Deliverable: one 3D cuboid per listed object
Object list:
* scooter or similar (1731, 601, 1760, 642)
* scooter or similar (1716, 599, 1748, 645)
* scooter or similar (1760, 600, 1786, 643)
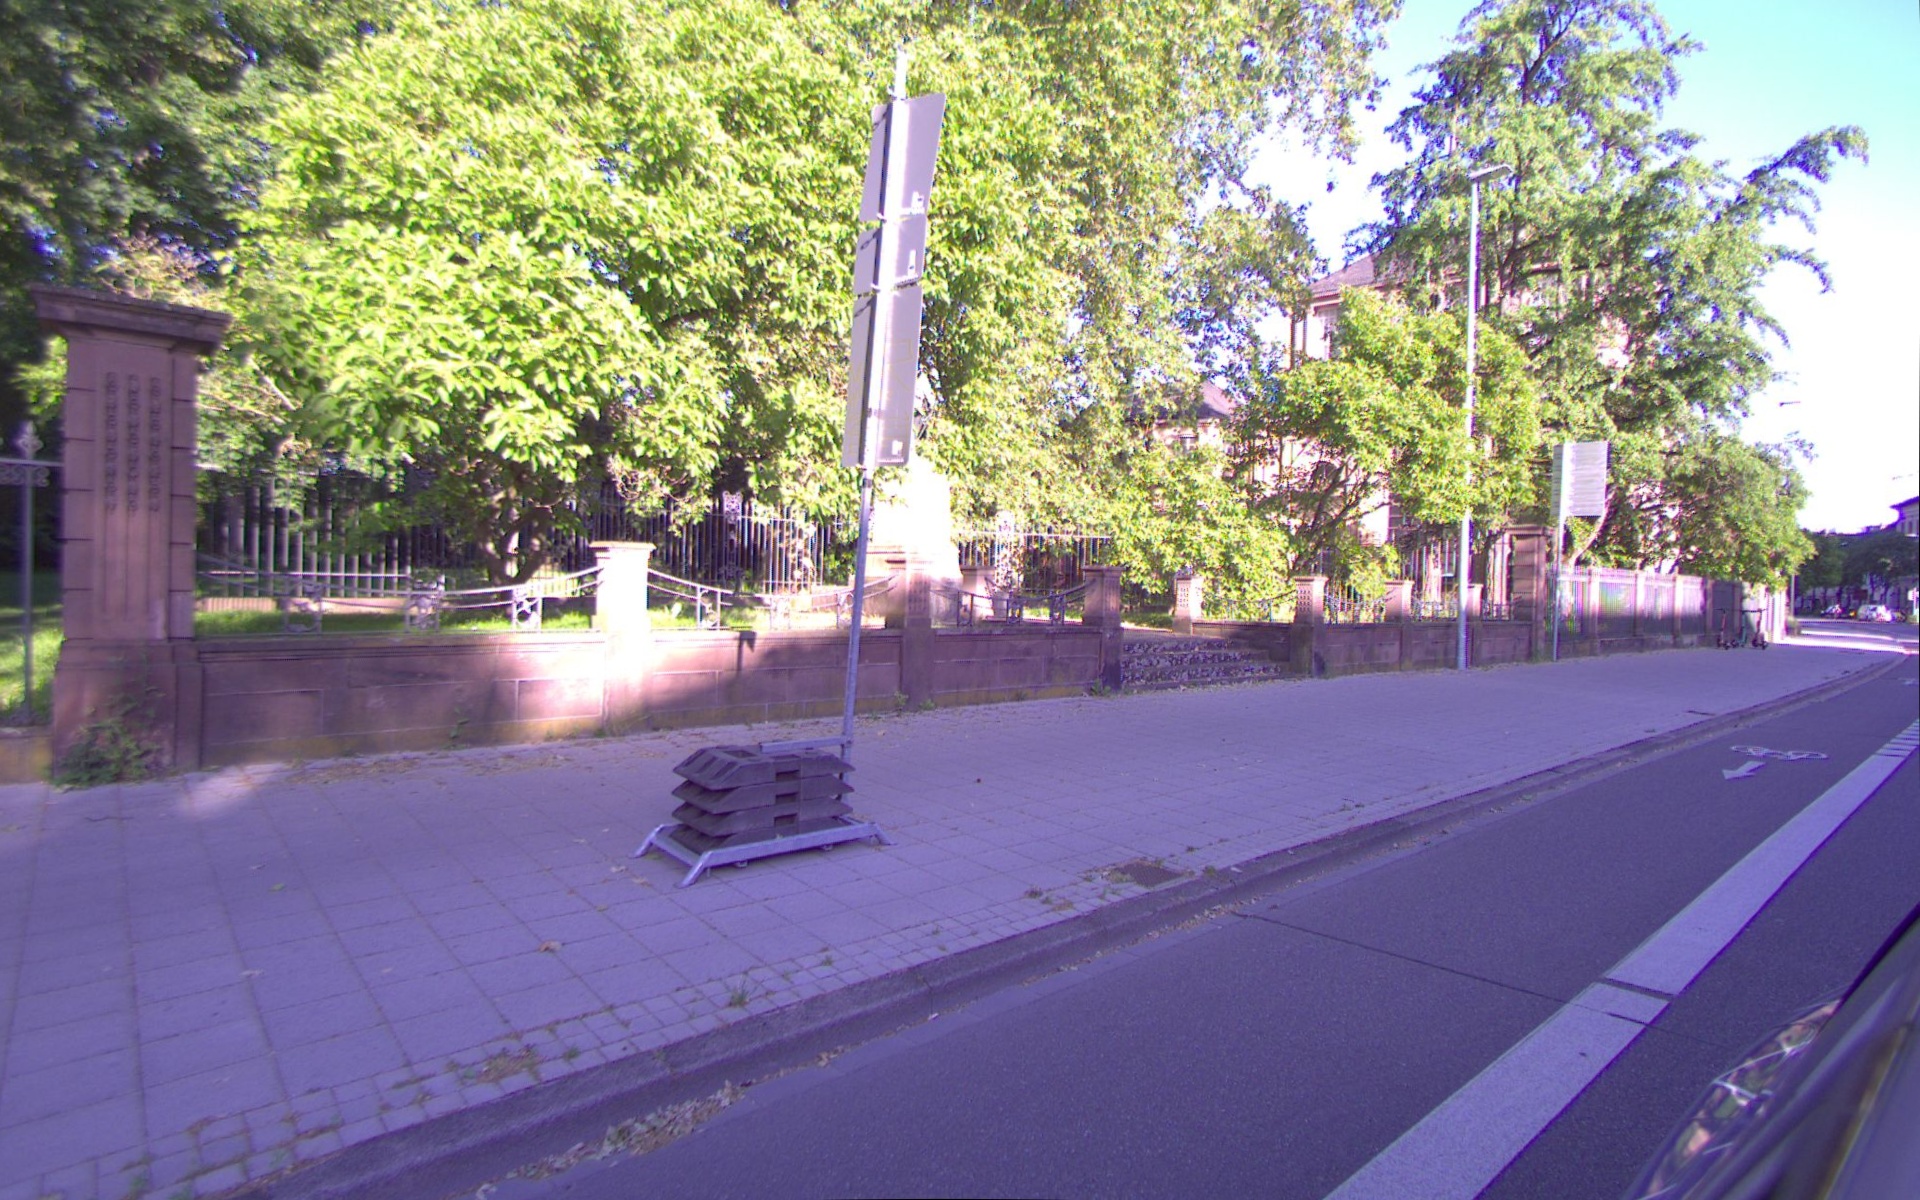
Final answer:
[{"bbox_3d":[23.626,0.633,30.441,0.574,1.199,1.465,3,2,41],"label":"scooter or similar"},{"bbox_3d":[22.279,0.616,29.217,0.572,1.269,1.470,2,2,33],"label":"scooter or similar"},{"bbox_3d":[24.726,0.644,30.790,0.514,1.255,1.502,2,2,37],"label":"scooter or similar"}]
